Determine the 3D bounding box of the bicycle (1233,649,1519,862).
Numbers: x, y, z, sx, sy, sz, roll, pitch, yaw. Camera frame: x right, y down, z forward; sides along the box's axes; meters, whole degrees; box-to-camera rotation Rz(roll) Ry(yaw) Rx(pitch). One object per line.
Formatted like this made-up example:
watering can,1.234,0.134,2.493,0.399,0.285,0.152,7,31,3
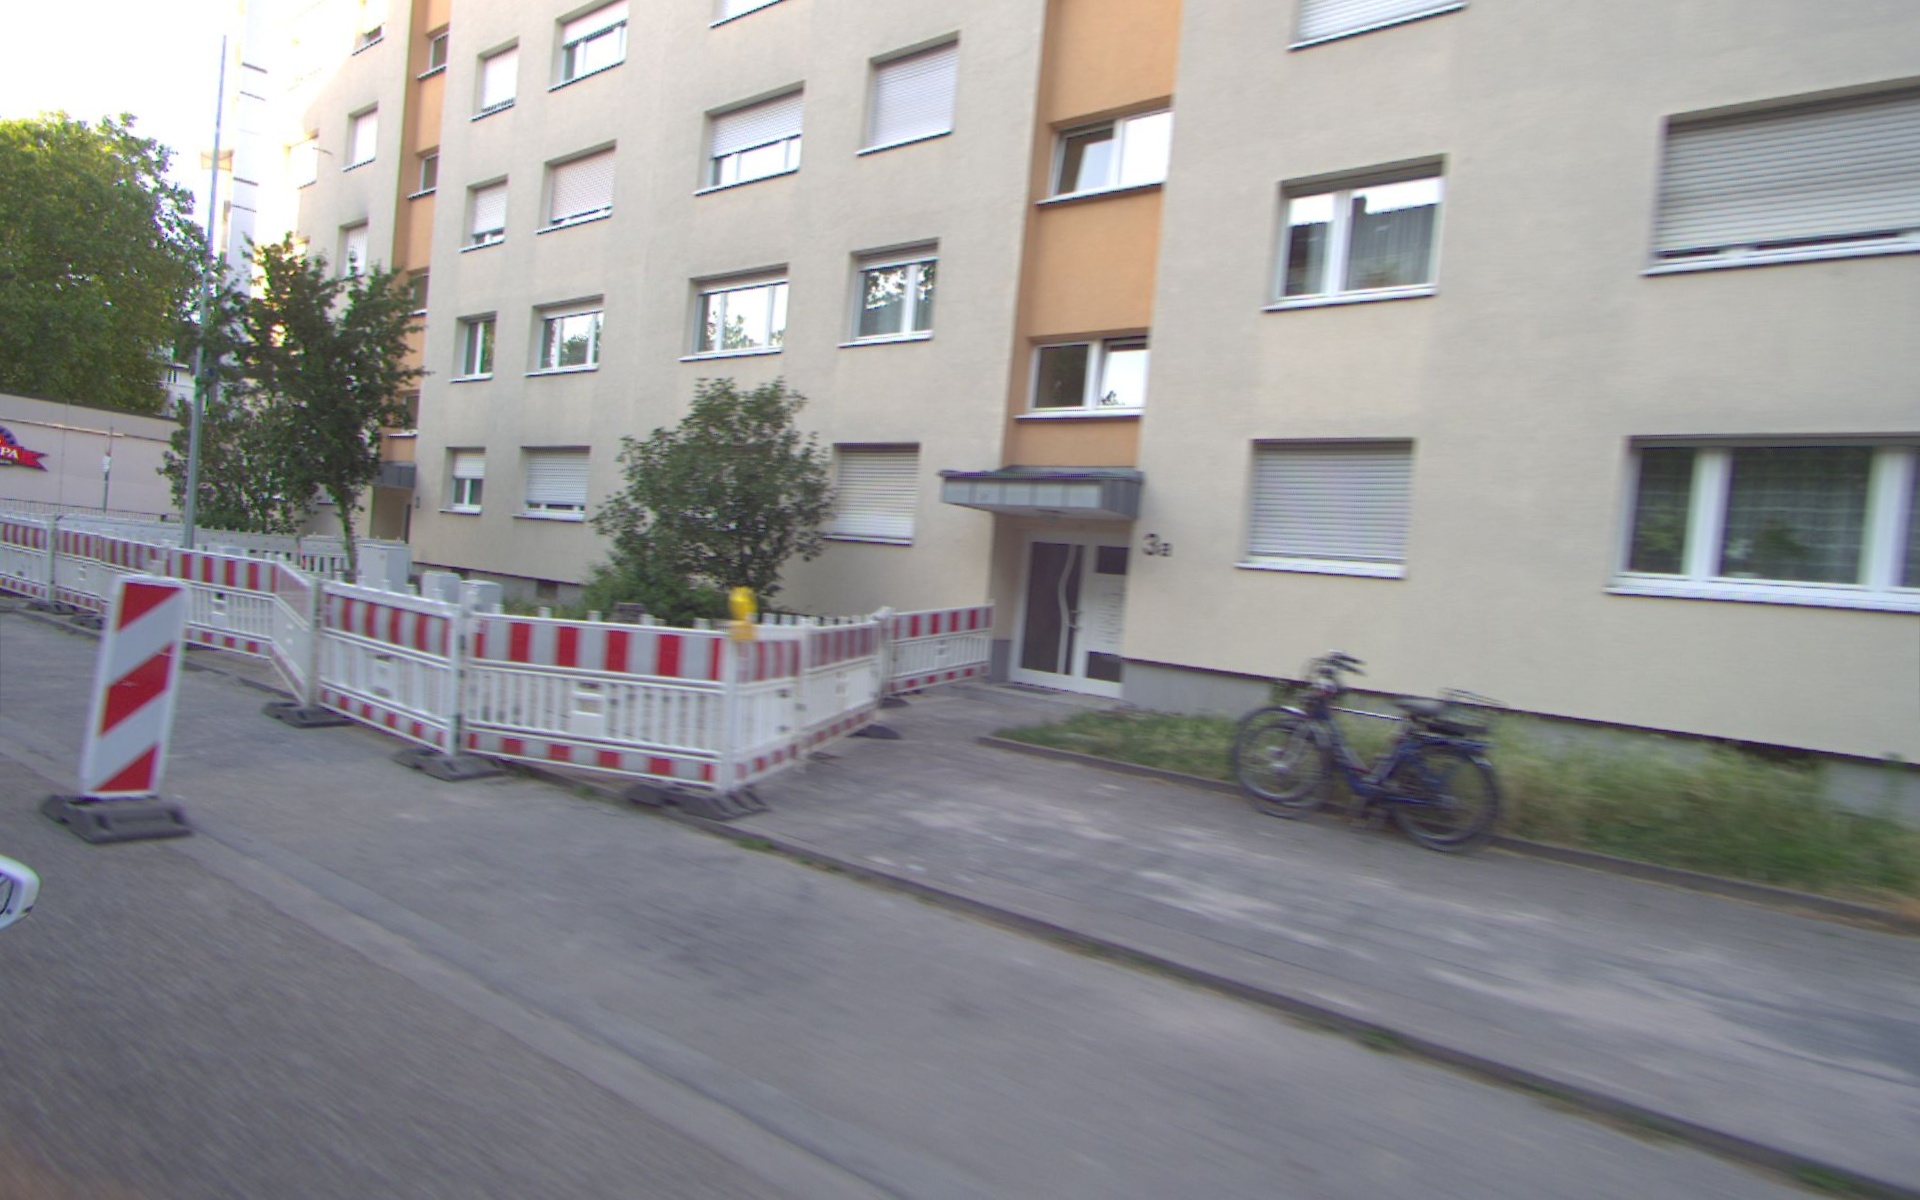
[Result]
bicycle,3.019,1.082,7.399,1.795,1.237,0.398,6,1,31

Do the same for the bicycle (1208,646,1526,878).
bicycle,2.760,1.045,6.942,1.879,1.237,0.452,6,1,31

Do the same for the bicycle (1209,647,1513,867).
bicycle,2.830,1.058,7.222,1.879,1.237,0.398,6,1,31

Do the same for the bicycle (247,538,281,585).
bicycle,-16.067,-0.894,23.241,0.540,0.980,1.798,5,1,-34
